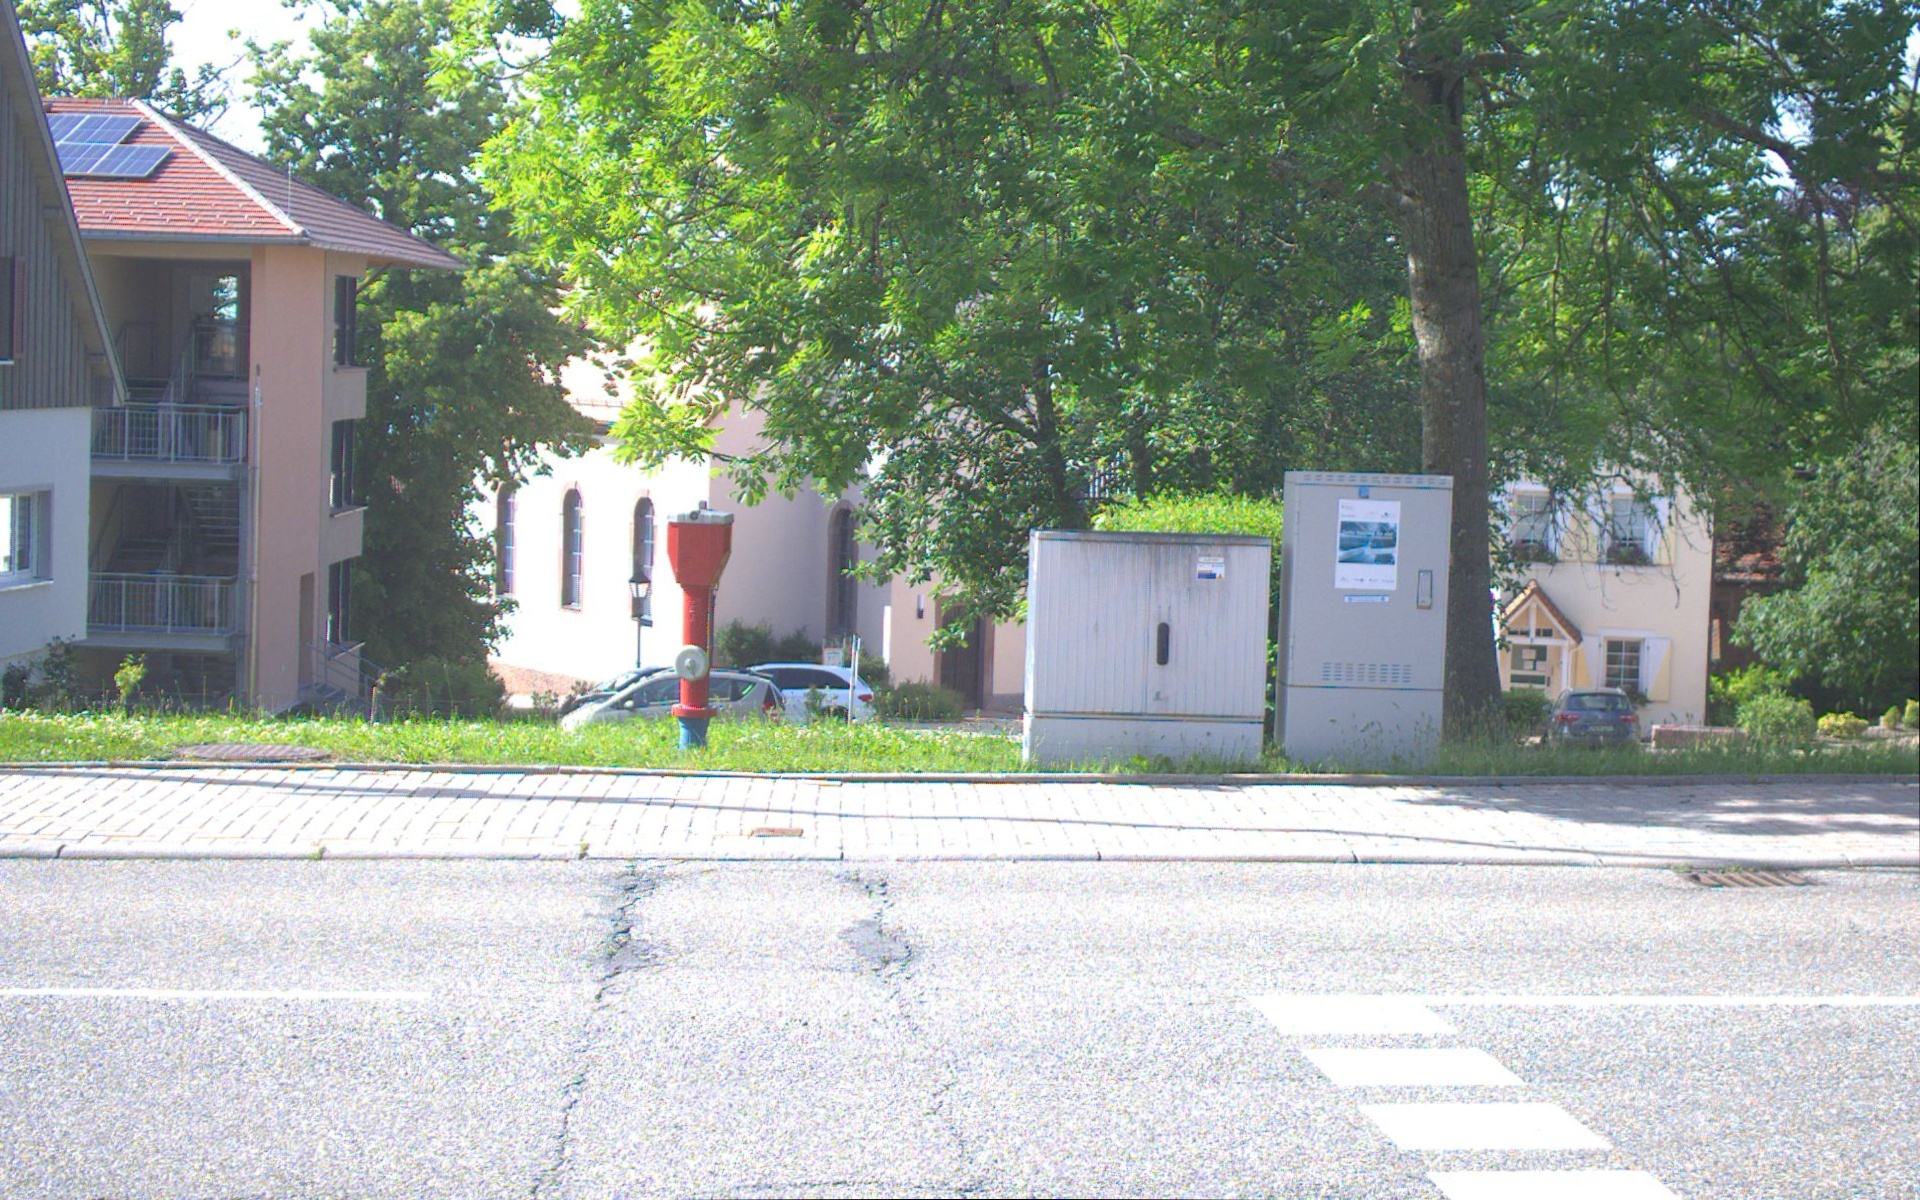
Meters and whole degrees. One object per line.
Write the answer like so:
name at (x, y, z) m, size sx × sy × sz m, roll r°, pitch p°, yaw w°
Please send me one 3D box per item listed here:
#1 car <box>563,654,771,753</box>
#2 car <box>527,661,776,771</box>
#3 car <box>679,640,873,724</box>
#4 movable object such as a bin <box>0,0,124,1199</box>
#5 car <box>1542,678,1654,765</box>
car at (-5.420, 1.898, 63.478) m, size 3.772 × 1.752 × 1.714 m, roll 1°, pitch 0°, yaw -6°
car at (-5.164, 1.936, 57.653) m, size 4.089 × 1.752 × 1.714 m, roll 1°, pitch 0°, yaw -5°
car at (-3.686, 1.625, 68.499) m, size 3.772 × 1.588 × 1.714 m, roll 1°, pitch 0°, yaw -6°
movable object such as a bin at (-3.334, -0.041, 3.922) m, size 1.996 × 2.759 × 5.099 m, roll 2°, pitch 2°, yaw 22°
car at (12.578, 2.381, 67.930) m, size 1.708 × 1.536 × 3.785 m, roll 0°, pitch 0°, yaw 4°
